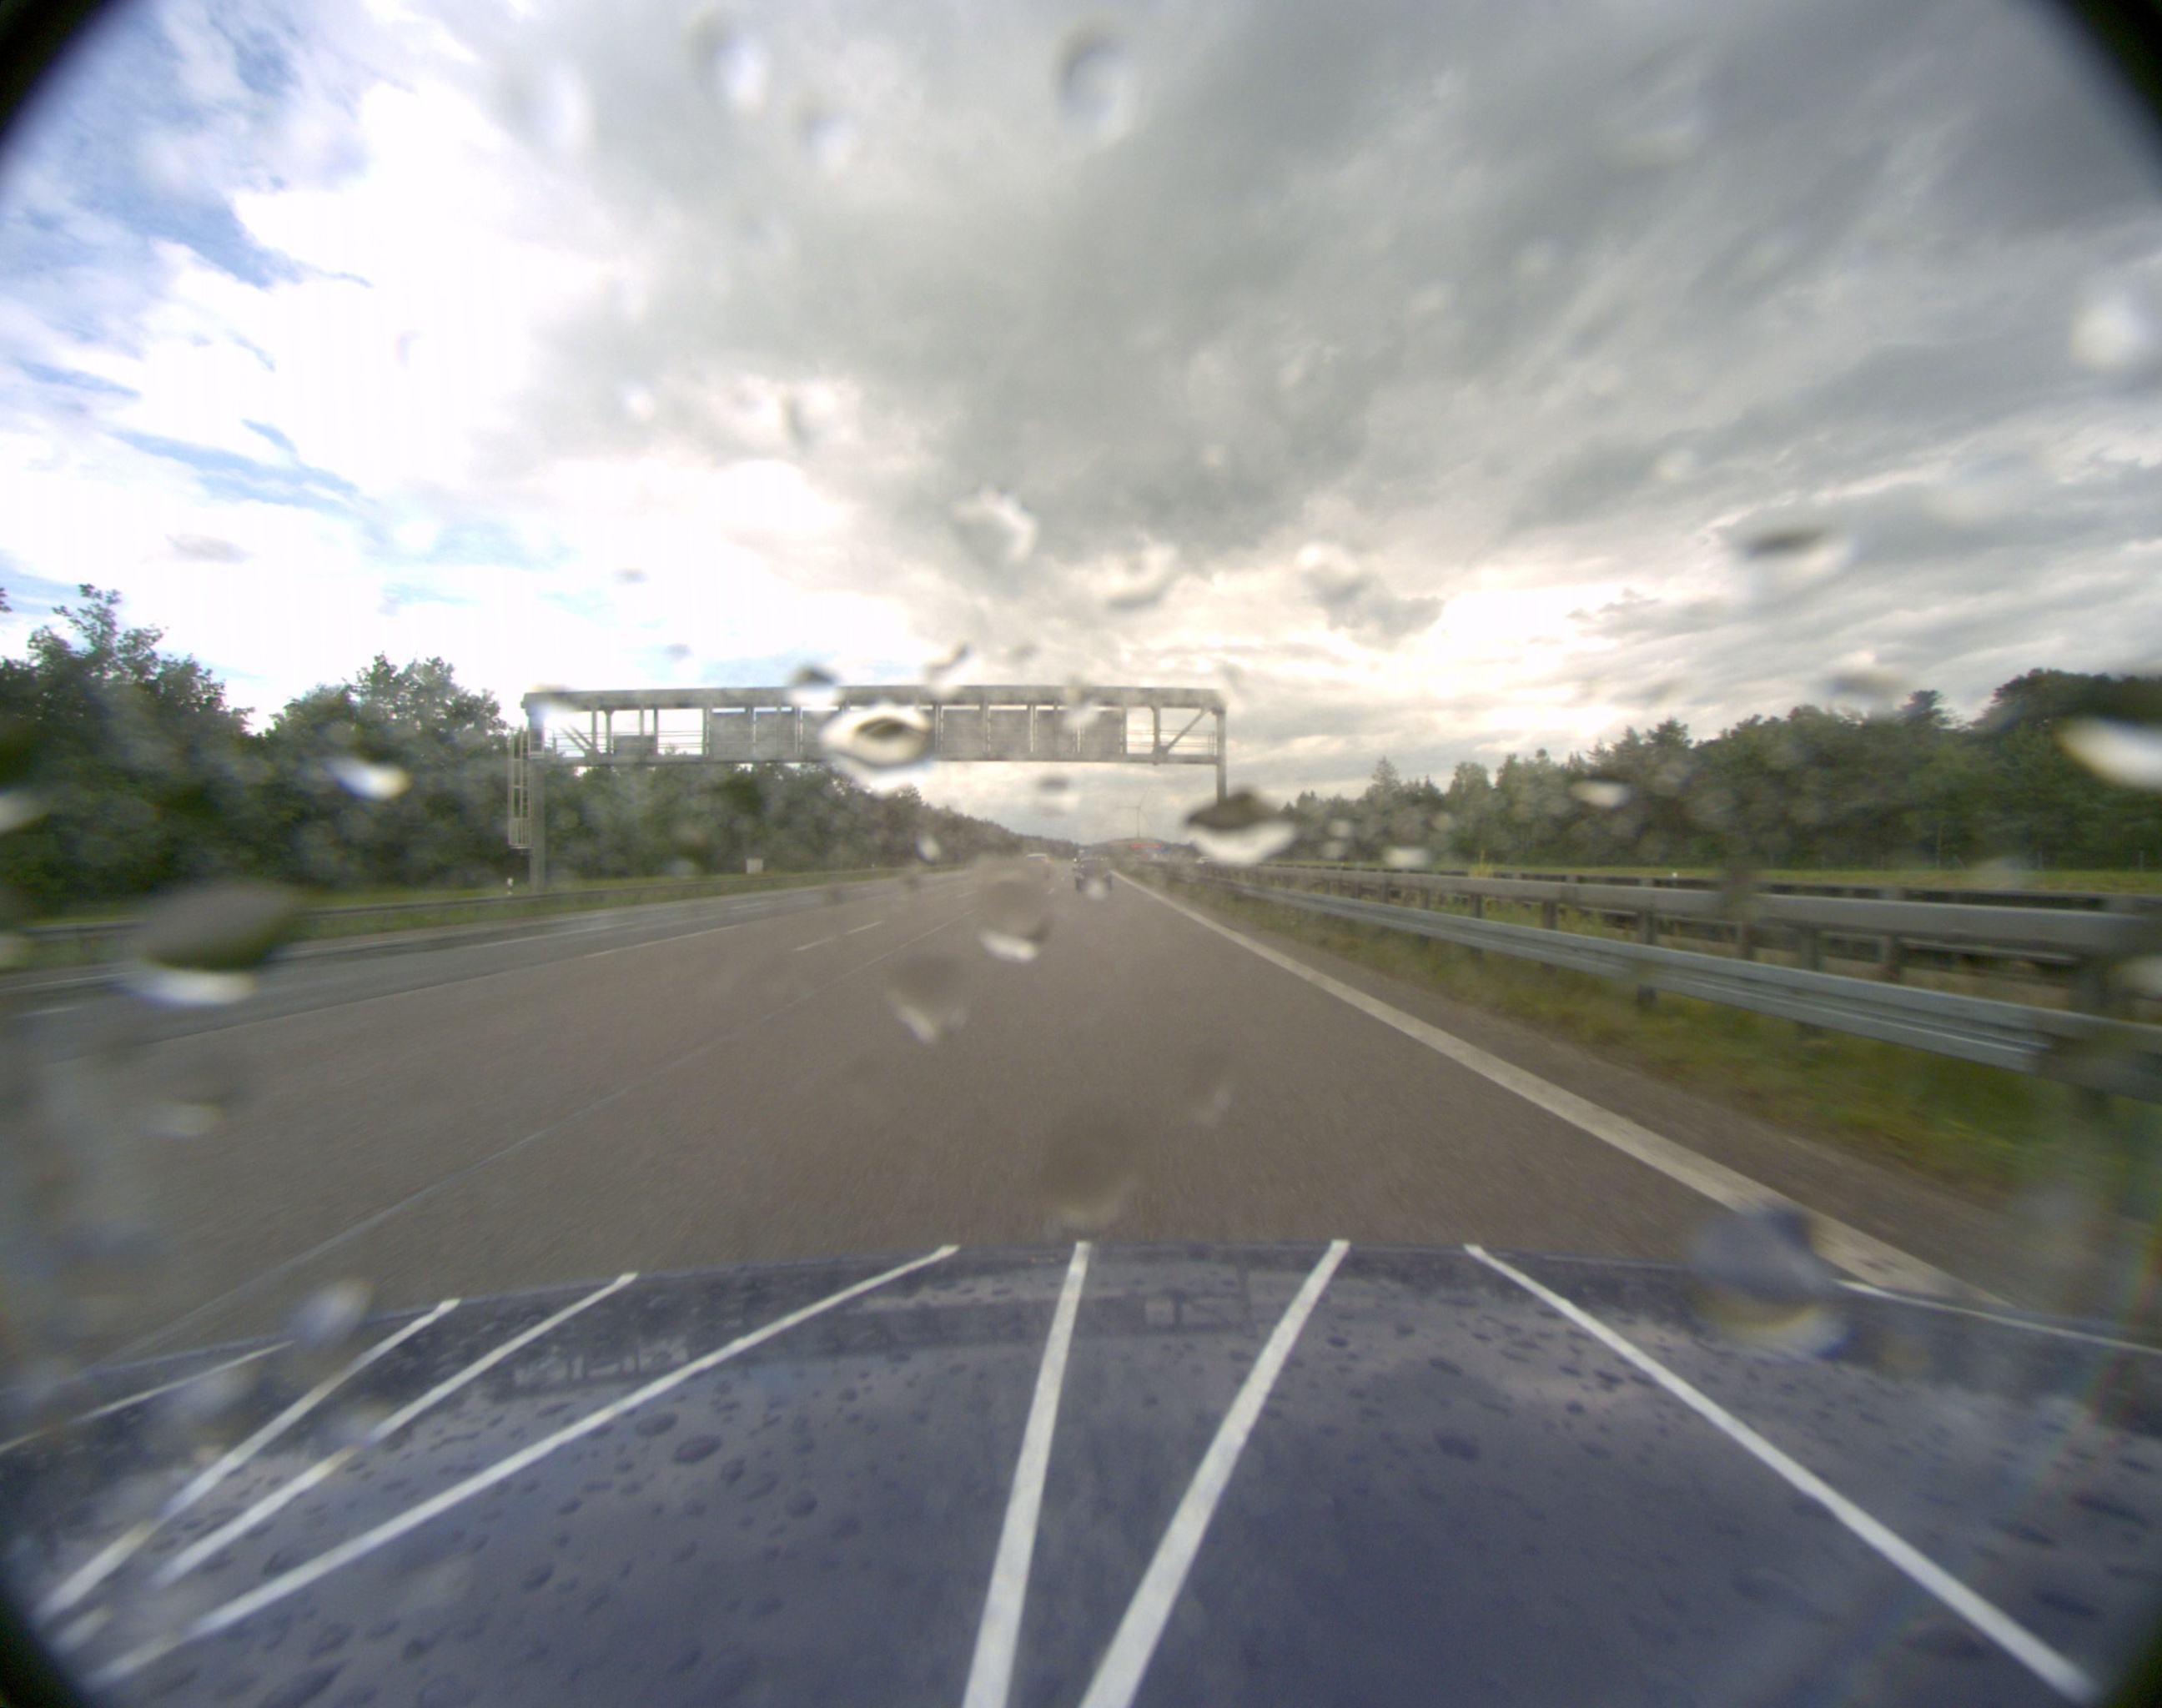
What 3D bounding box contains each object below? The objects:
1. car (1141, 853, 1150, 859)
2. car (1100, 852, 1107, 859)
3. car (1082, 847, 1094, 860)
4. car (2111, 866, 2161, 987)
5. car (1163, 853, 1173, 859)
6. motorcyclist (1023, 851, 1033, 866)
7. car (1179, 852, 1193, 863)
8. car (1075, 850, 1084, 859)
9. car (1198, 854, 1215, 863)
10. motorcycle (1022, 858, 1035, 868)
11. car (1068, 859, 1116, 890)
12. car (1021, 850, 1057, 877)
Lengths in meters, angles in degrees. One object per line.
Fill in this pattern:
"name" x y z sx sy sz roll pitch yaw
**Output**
"car" 18.278 0.559 215.350 1.998 1.600 4.609 -2 0 1
"car" 6.593 0.462 223.340 2.179 2.002 4.362 -3 0 1
"car" 1.238 -0.092 130.687 1.998 2.002 4.000 -3 0 1
"car" 13.953 0.858 7.564 1.761 1.441 4.140 -1 0 -1
"car" 21.485 0.513 187.839 1.998 1.492 4.609 1 0 1
"motorcyclist" -5.634 0.448 81.155 0.893 1.605 0.959 -2 0 5
"car" 20.030 0.628 145.548 1.998 1.906 4.724 2 0 1
"car" -0.243 0.118 168.417 1.831 1.838 4.000 -3 0 1
"car" 19.192 0.682 116.691 1.854 1.436 4.320 0 0 0
"motorcycle" -5.605 0.907 81.294 1.002 1.025 2.175 -2 0 5
"car" 0.573 0.907 35.403 1.809 1.321 4.433 0 0 6
"car" -3.086 0.663 57.104 1.968 1.890 4.883 -2 0 5
